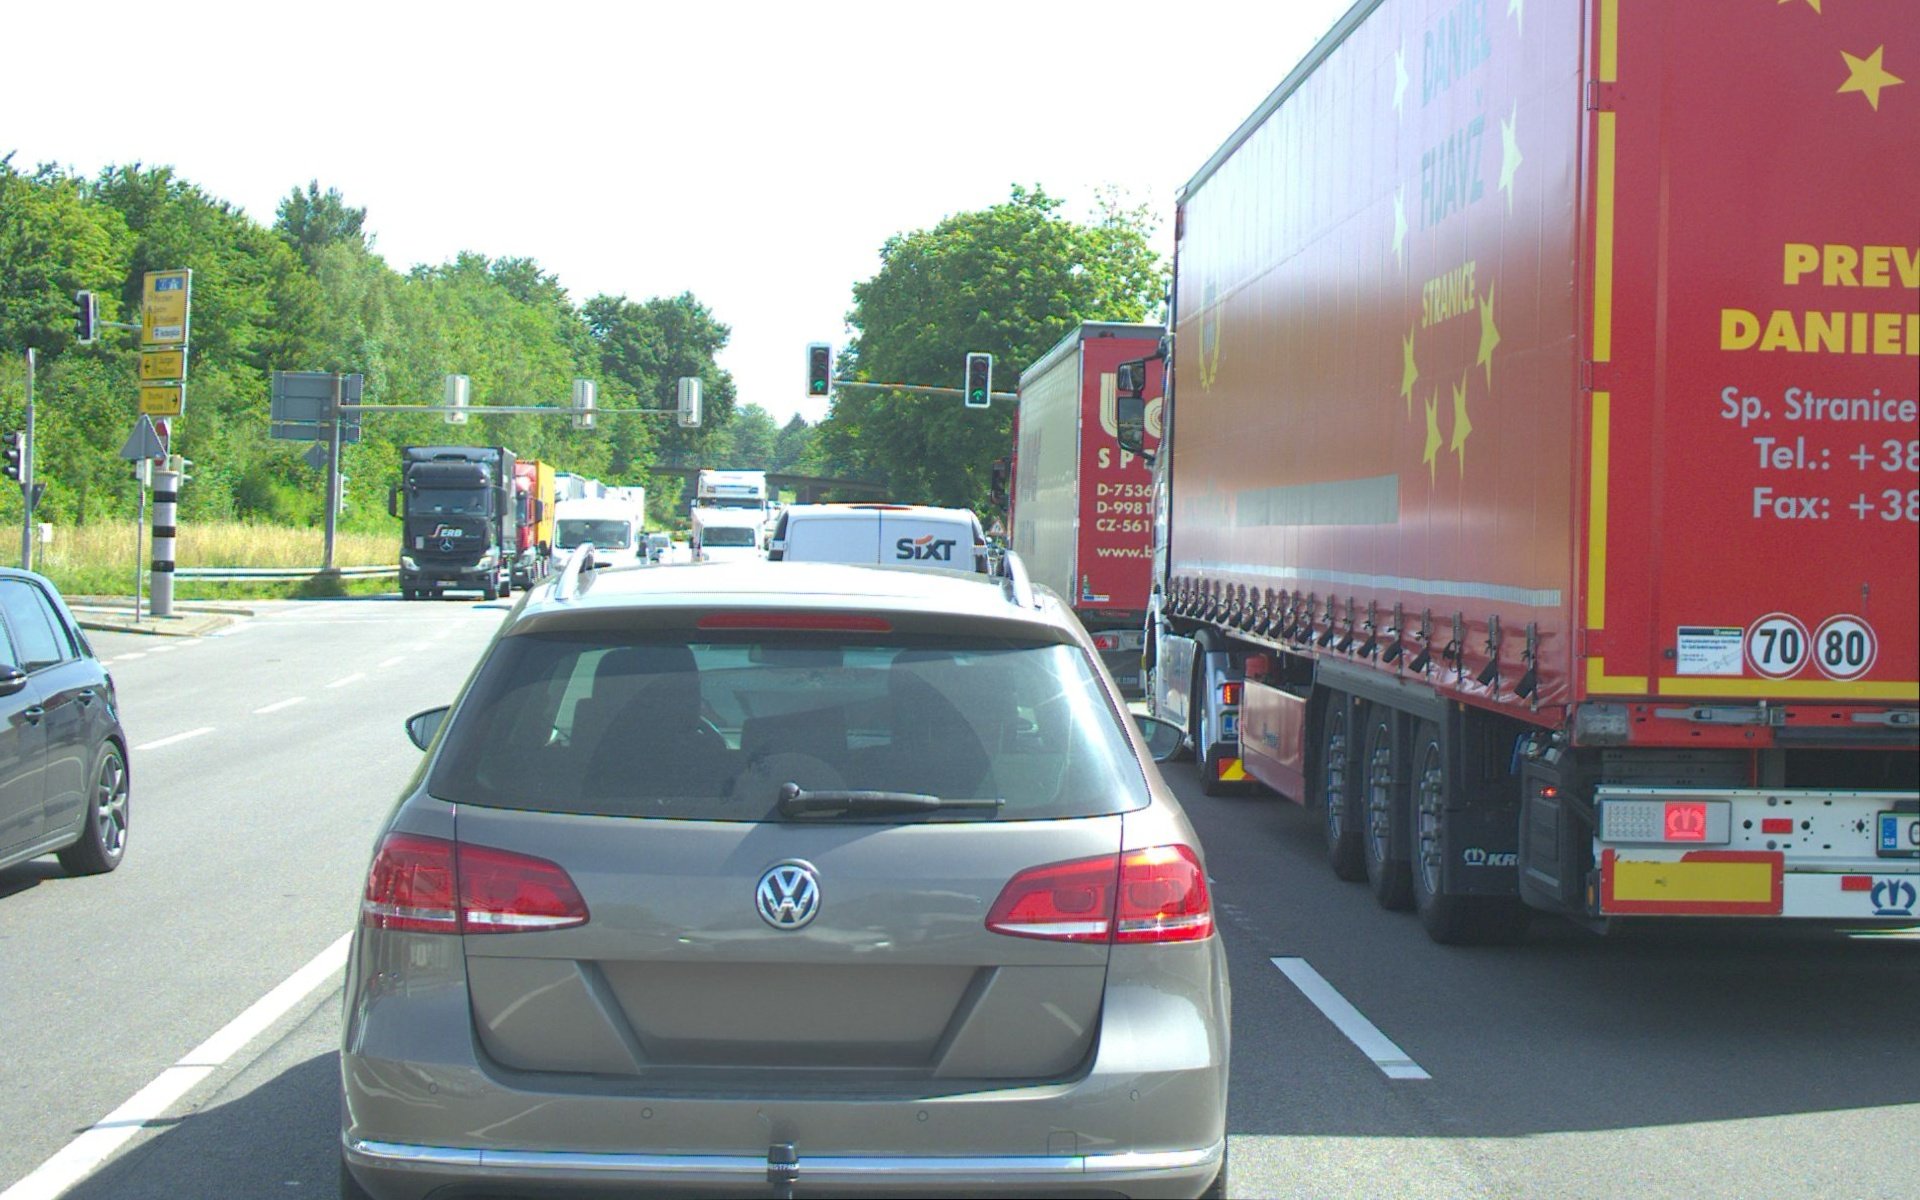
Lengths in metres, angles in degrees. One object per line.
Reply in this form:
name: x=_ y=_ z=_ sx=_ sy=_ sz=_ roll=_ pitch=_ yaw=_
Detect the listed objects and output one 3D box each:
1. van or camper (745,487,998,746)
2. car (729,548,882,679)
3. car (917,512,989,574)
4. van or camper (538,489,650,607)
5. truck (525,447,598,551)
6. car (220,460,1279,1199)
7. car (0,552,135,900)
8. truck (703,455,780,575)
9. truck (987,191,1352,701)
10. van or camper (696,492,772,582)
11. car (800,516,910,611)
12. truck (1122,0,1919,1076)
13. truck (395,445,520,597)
van or camper: x=-0.730 y=0.093 z=27.674 sx=1.852 sy=1.899 sz=3.785 roll=1 pitch=1 yaw=-2
car: x=-1.867 y=0.156 z=42.371 sx=1.727 sy=1.514 sz=3.312 roll=1 pitch=0 yaw=0
car: x=-0.198 y=-1.477 z=90.070 sx=1.726 sy=1.514 sz=3.312 roll=2 pitch=0 yaw=-2
van or camper: x=-8.233 y=-1.176 z=77.596 sx=2.173 sy=2.542 sz=4.171 roll=1 pitch=1 yaw=-2
truck: x=-14.908 y=-3.753 z=128.942 sx=2.532 sy=3.773 sz=6.991 roll=-1 pitch=1 yaw=-5
car: x=-0.309 y=0.562 z=7.567 sx=1.790 sy=1.633 sz=3.503 roll=0 pitch=1 yaw=2
car: x=-4.740 y=0.521 z=14.303 sx=1.666 sy=1.404 sz=3.926 roll=-1 pitch=1 yaw=0
truck: x=-8.108 y=-3.144 z=128.074 sx=2.552 sy=4.292 sz=7.596 roll=0 pitch=1 yaw=-2
truck: x=2.233 y=-1.743 z=44.021 sx=3.062 sy=5.203 sz=17.009 roll=1 pitch=1 yaw=-2
van or camper: x=-7.424 y=-2.048 z=113.494 sx=2.224 sy=2.831 sz=5.711 roll=1 pitch=0 yaw=-2
car: x=-1.742 y=-0.605 z=57.932 sx=1.727 sy=1.514 sz=3.312 roll=1 pitch=0 yaw=0
truck: x=3.004 y=-0.879 z=18.328 sx=2.957 sy=4.255 sz=16.586 roll=1 pitch=1 yaw=-2
truck: x=-13.003 y=-2.052 z=89.364 sx=2.812 sy=3.773 sz=6.991 roll=-1 pitch=1 yaw=-5
